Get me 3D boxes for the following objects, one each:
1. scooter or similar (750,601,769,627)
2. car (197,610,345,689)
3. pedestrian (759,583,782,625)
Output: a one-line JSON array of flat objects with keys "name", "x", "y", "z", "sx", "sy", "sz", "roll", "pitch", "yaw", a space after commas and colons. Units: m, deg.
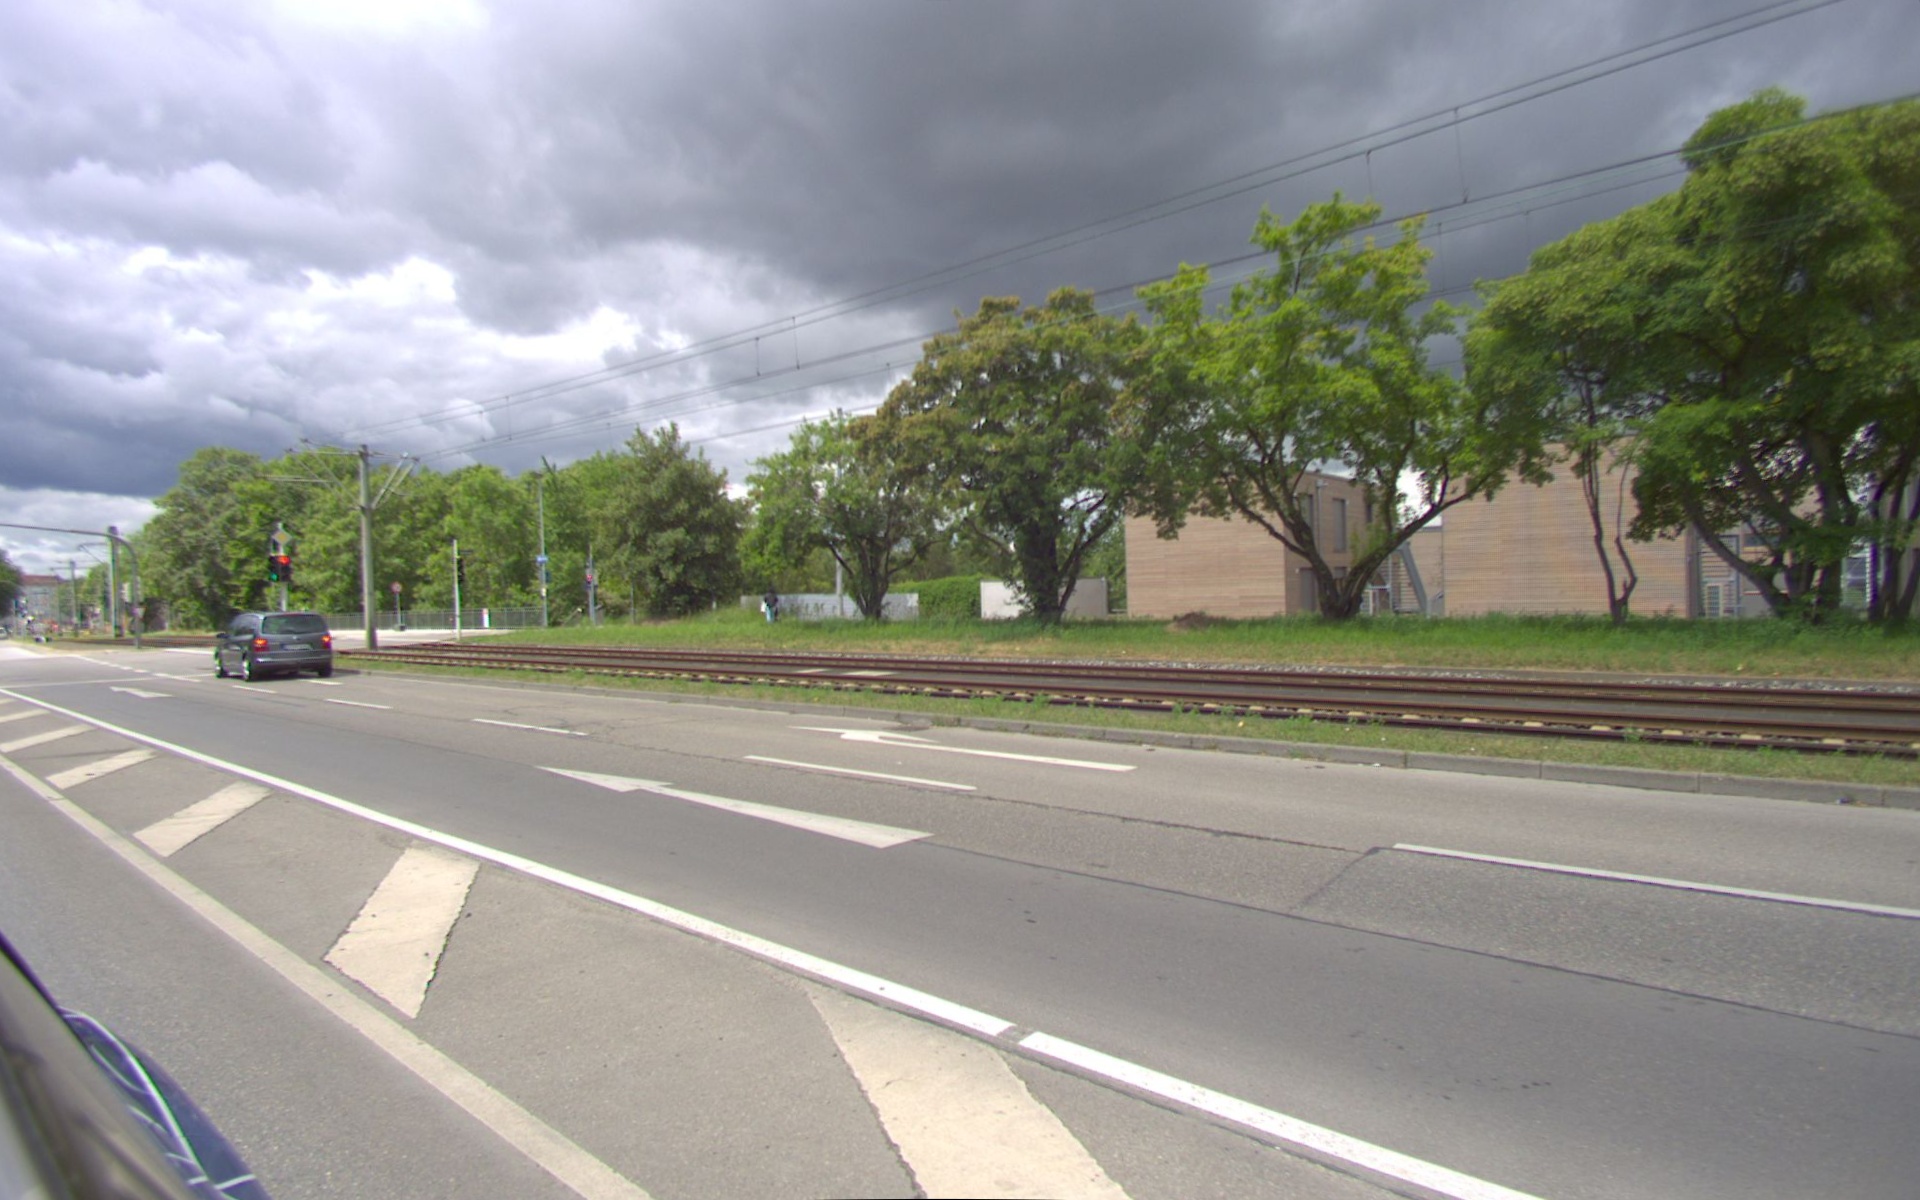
[{"name": "scooter or similar", "x": -8.393, "y": 0.585, "z": 42.359, "sx": 0.717, "sy": 1.084, "sz": 0.376, "roll": -1, "pitch": 1, "yaw": 40}, {"name": "car", "x": -16.978, "y": 1.121, "z": 24.847, "sx": 4.521, "sy": 1.672, "sz": 1.972, "roll": 0, "pitch": 2, "yaw": 42}, {"name": "pedestrian", "x": -7.845, "y": 0.166, "z": 41.853, "sx": 0.799, "sy": 1.736, "sz": 0.485, "roll": -1, "pitch": 1, "yaw": 41}]
